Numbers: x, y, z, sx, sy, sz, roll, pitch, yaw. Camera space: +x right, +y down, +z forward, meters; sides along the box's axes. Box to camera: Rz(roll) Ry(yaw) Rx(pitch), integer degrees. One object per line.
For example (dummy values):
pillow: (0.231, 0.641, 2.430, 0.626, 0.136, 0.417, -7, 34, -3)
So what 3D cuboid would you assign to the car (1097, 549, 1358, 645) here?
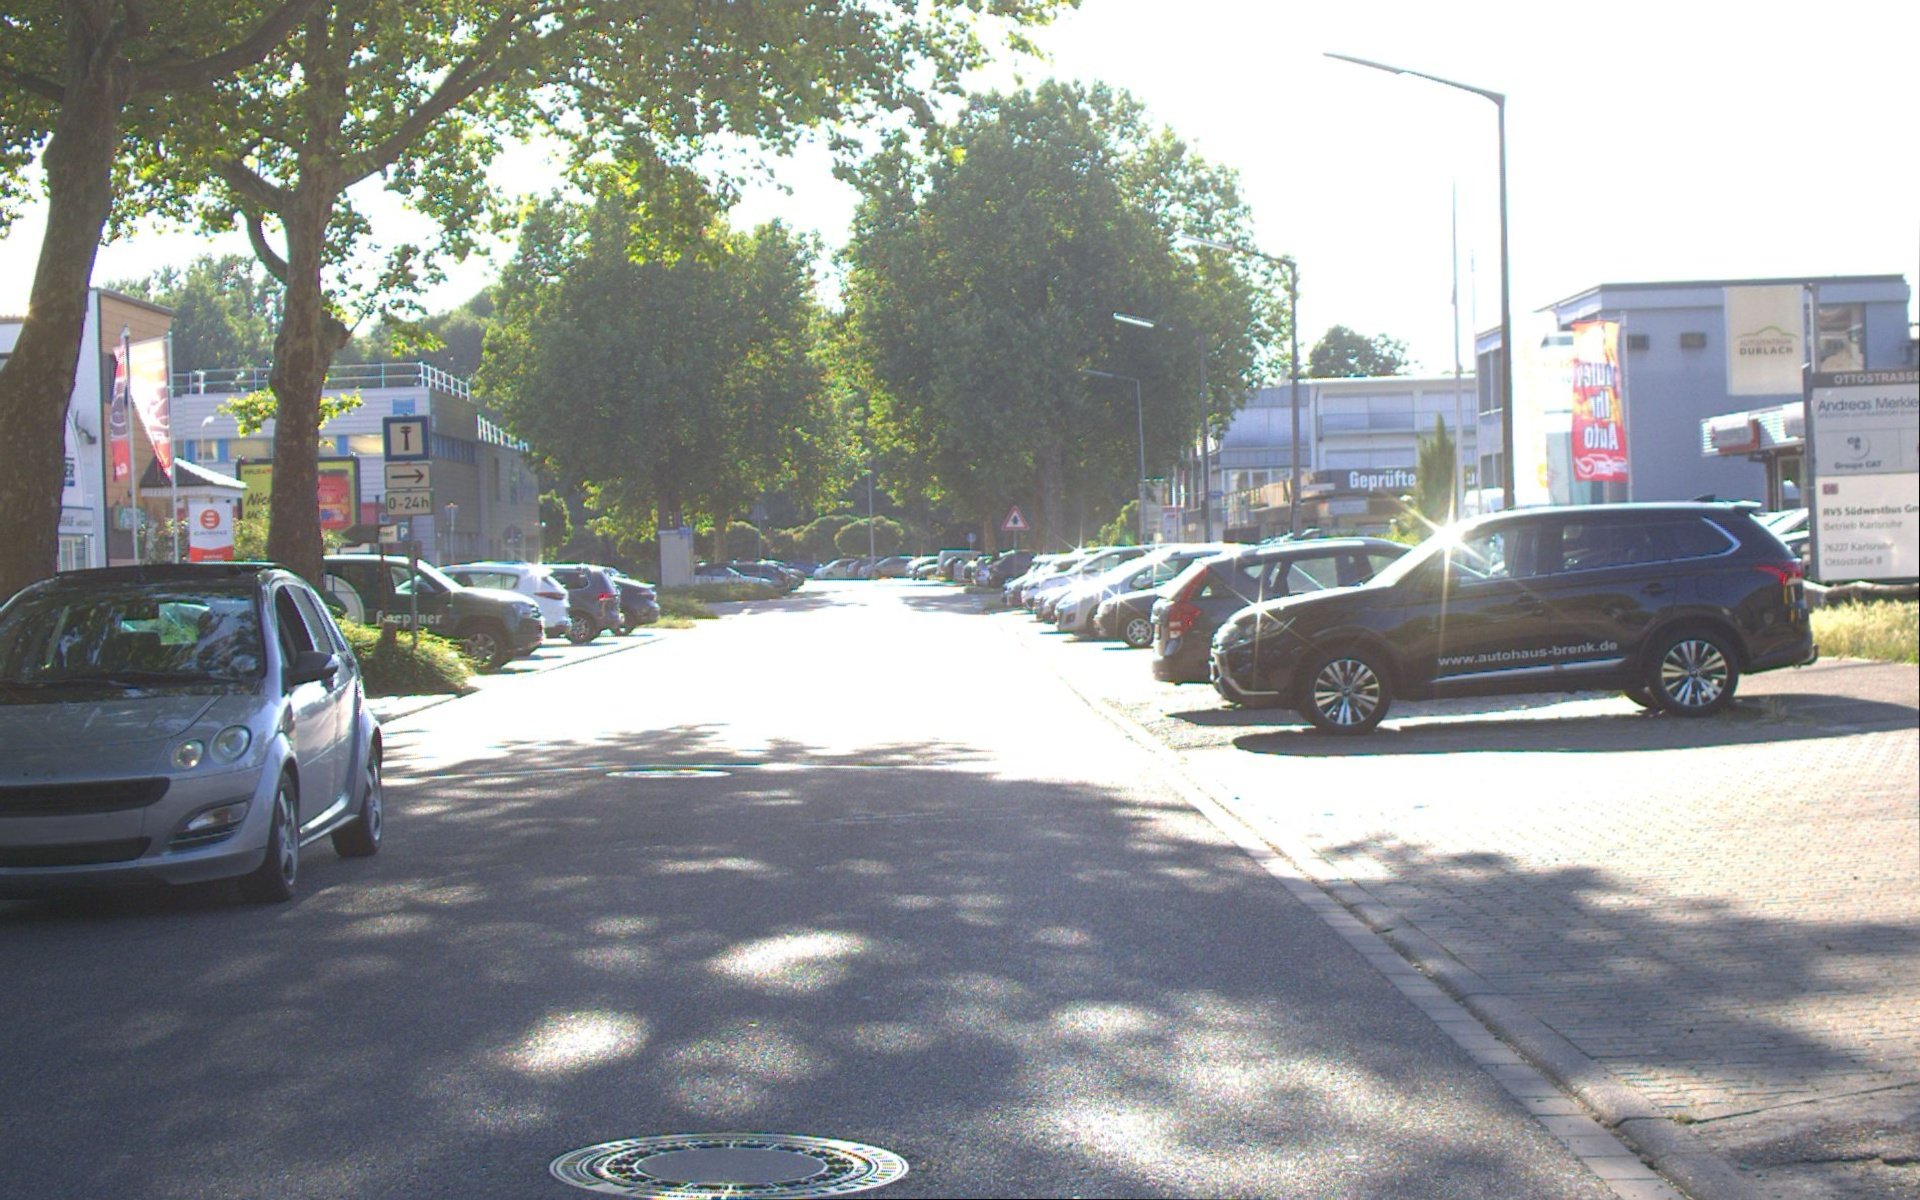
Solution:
car: (4.186, -0.053, 54.311, 3.987, 1.292, 1.784, -3, 0, 2)

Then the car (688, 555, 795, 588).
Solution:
car: (-9.123, -1.185, 143.468, 4.414, 1.398, 2.000, 0, 0, -5)

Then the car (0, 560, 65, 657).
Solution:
car: (-17.907, 0.133, 58.807, 4.718, 1.637, 2.000, 0, 0, -2)

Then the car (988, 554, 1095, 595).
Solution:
car: (3.100, -0.966, 131.119, 3.987, 1.411, 2.000, -2, 0, 0)

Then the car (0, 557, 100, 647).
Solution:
car: (-17.936, 0.038, 61.510, 4.660, 1.587, 1.929, 0, 0, -2)

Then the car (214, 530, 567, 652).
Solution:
car: (-8.986, -0.149, 54.622, 5.259, 1.892, 2.202, 0, 0, -1)

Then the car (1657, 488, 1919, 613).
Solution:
car: (13.607, -0.835, 56.254, 3.933, 1.891, 2.202, -1, 3, -1)

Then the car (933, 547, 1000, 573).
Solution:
car: (0.383, -2.396, 206.552, 3.987, 1.411, 1.827, -2, 0, 0)

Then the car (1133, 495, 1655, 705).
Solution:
car: (4.071, -0.004, 32.843, 4.600, 1.608, 2.000, -4, 0, -1)

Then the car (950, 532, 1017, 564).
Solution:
car: (1.411, -3.173, 209.572, 3.987, 1.771, 1.827, -2, 0, 0)

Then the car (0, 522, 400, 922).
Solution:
car: (-3.821, 0.507, 15.836, 1.838, 1.565, 3.802, -3, 0, -1)

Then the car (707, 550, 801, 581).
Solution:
car: (-9.976, -1.670, 166.783, 4.415, 1.512, 2.000, 0, 0, 1)

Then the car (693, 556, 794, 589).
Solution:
car: (-9.835, -1.249, 156.225, 4.415, 1.512, 2.000, 0, 0, 1)

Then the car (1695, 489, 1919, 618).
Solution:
car: (13.536, -0.680, 51.638, 4.495, 1.892, 2.202, 0, 0, -1)

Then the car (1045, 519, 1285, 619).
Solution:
car: (3.635, -0.550, 61.408, 3.986, 1.582, 1.868, -3, 0, -4)

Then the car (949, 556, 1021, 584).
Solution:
car: (1.378, -1.681, 193.935, 3.987, 1.411, 1.827, -2, 0, 0)

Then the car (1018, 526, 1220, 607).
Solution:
car: (3.811, -0.806, 82.984, 4.554, 1.592, 2.202, -4, 0, -3)

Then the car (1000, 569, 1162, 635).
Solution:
car: (3.546, 0.053, 101.468, 4.523, 1.667, 1.753, -3, 0, -4)

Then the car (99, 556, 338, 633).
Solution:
car: (-16.404, -0.123, 76.242, 4.942, 1.683, 2.000, 0, 0, -3)

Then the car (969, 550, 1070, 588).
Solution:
car: (2.398, -1.253, 138.459, 3.987, 1.411, 1.827, -2, 0, 0)

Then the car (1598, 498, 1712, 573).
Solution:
car: (17.165, -1.570, 85.077, 1.993, 1.793, 4.000, 0, 0, -1)

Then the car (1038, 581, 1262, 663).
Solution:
car: (3.764, 0.429, 68.585, 4.241, 1.599, 1.746, 0, 0, -5)

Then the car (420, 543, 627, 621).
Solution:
car: (-9.298, -0.384, 73.510, 4.230, 1.650, 2.202, 0, 0, -3)

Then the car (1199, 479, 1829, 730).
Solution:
car: (4.291, 0.029, 27.238, 4.601, 1.574, 2.000, -4, 0, 2)

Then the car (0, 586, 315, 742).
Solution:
car: (-8.494, 0.587, 32.849, 4.296, 1.441, 2.000, 0, 0, -1)

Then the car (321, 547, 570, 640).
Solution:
car: (-9.367, -0.120, 62.891, 4.302, 1.650, 2.202, 0, 0, -3)

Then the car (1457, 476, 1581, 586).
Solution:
car: (13.753, -1.653, 84.935, 1.993, 2.616, 6.137, 0, 0, -1)

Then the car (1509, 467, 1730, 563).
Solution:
car: (13.804, -1.768, 72.123, 4.144, 1.765, 2.000, -3, 0, 0)
